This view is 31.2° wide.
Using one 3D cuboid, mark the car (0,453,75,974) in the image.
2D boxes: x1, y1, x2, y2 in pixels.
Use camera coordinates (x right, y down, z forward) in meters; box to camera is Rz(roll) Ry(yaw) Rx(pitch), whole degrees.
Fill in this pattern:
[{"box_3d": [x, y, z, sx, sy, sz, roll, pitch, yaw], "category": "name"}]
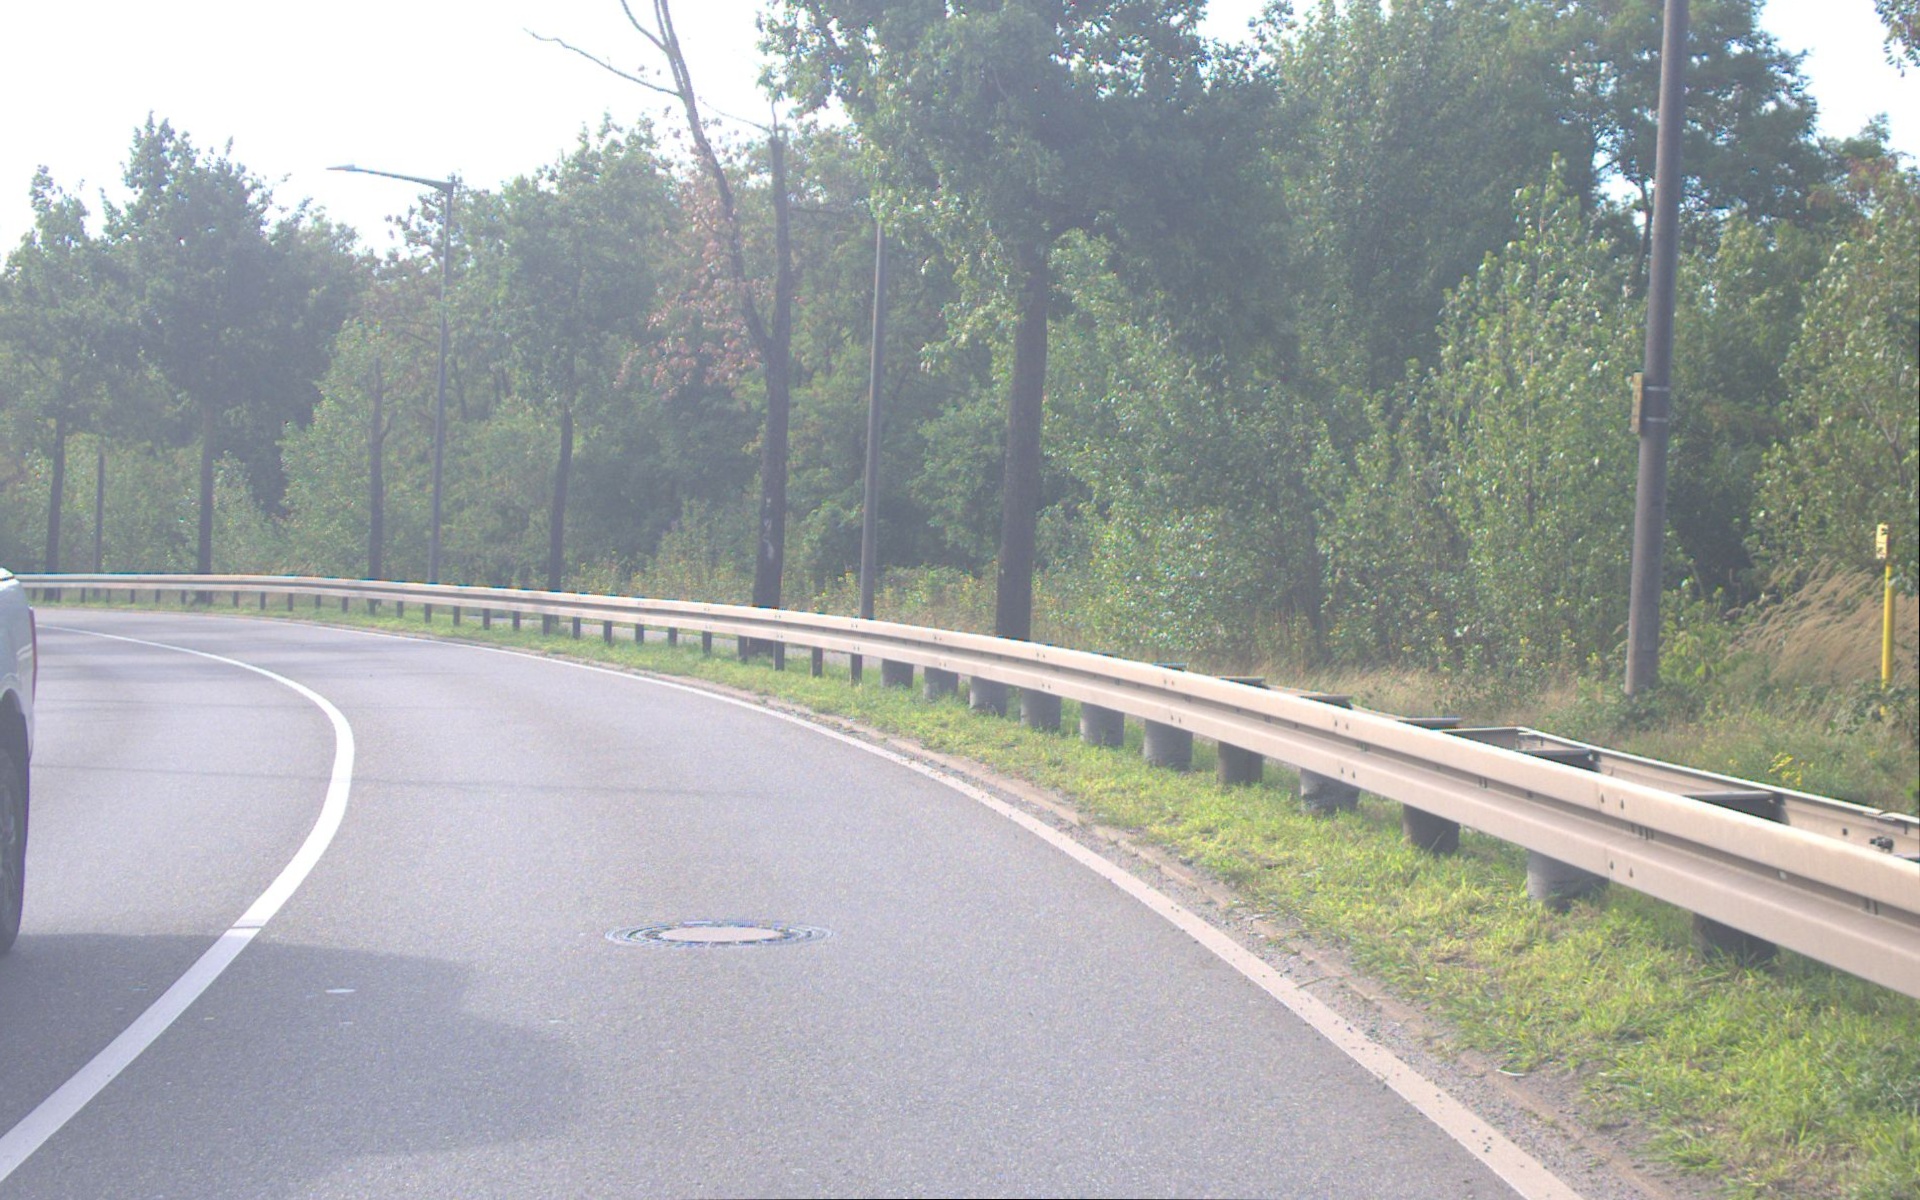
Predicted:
[{"box_3d": [-4.168, 0.415, 10.848, 1.900, 1.804, 5.405, 0, 1, -6], "category": "car"}]
